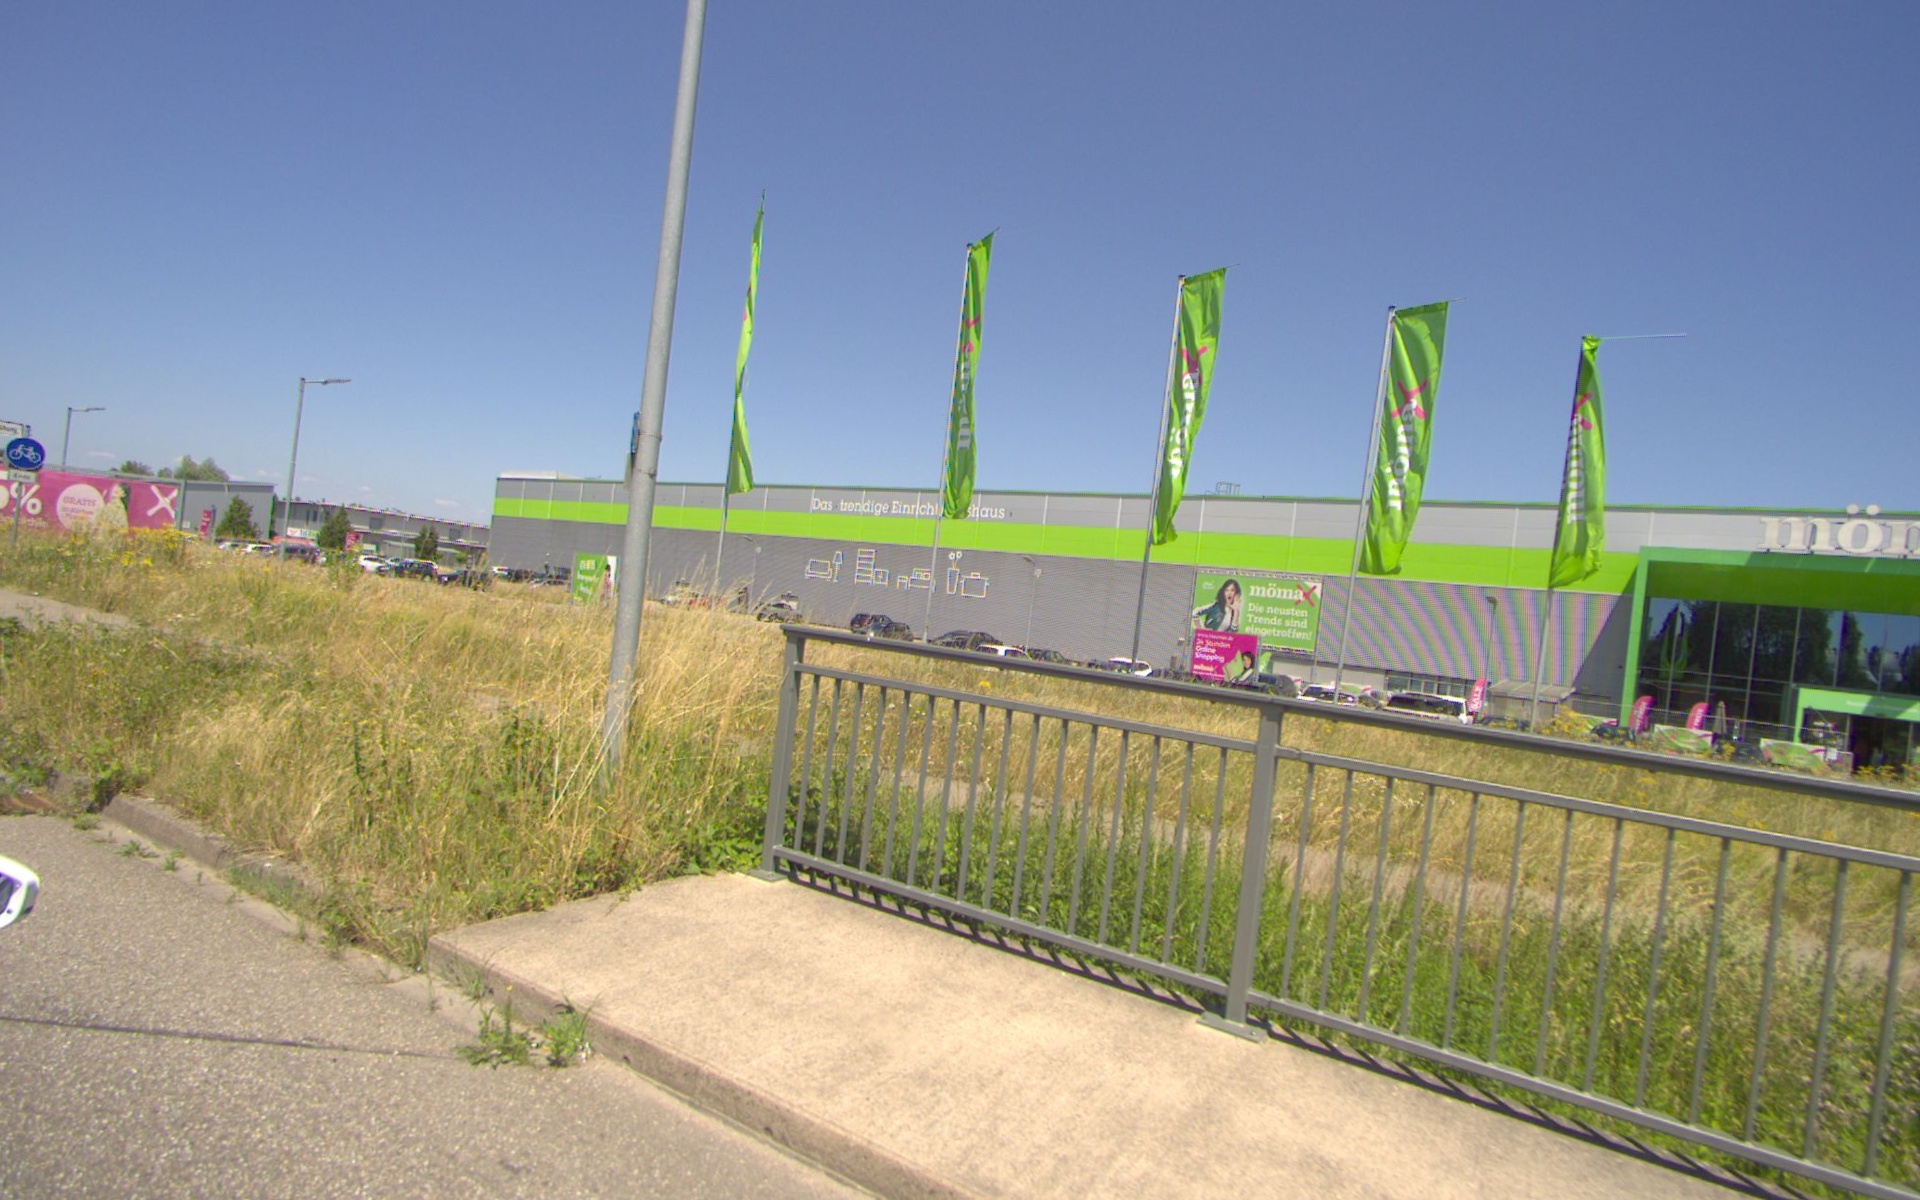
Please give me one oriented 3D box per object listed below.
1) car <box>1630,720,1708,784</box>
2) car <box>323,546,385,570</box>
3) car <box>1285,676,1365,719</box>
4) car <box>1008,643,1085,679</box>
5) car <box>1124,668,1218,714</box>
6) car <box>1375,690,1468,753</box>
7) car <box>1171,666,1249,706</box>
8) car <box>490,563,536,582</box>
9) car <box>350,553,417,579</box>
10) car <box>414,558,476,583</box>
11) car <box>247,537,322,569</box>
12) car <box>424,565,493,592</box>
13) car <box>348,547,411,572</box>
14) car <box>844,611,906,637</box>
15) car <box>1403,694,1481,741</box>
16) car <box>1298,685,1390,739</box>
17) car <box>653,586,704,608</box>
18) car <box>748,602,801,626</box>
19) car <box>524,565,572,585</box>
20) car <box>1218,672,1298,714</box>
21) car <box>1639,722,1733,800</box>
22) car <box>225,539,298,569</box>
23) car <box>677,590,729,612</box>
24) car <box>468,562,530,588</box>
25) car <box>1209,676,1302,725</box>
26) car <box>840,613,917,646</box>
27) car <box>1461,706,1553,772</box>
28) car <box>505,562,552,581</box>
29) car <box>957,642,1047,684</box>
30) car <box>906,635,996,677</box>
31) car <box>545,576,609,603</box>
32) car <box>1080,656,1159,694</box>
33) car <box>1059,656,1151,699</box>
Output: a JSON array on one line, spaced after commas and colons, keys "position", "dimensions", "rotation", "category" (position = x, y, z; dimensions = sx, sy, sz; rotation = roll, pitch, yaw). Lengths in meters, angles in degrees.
[{"position": [23.692, 5.004, 33.561], "dimensions": [1.887, 1.674, 3.985], "rotation": [5, -1, 37], "category": "car"}, {"position": [-51.228, -3.520, 85.072], "dimensions": [1.970, 1.537, 3.987], "rotation": [5, -2, 36], "category": "car"}, {"position": [15.356, 4.081, 42.226], "dimensions": [1.918, 1.523, 3.985], "rotation": [5, -1, 37], "category": "car"}, {"position": [4.359, 3.078, 50.486], "dimensions": [1.918, 1.523, 3.985], "rotation": [5, -1, 37], "category": "car"}, {"position": [8.192, 3.515, 38.840], "dimensions": [1.918, 1.480, 3.985], "rotation": [5, -1, 37], "category": "car"}, {"position": [15.434, 3.988, 33.539], "dimensions": [1.887, 1.717, 3.985], "rotation": [5, -1, 37], "category": "car"}, {"position": [11.348, 3.891, 45.468], "dimensions": [1.918, 1.523, 3.985], "rotation": [5, -1, 37], "category": "car"}, {"position": [-47.668, -2.896, 107.356], "dimensions": [1.968, 1.537, 3.990], "rotation": [5, -2, 34], "category": "car"}, {"position": [-44.812, -2.625, 78.247], "dimensions": [1.968, 1.537, 3.990], "rotation": [5, -2, 34], "category": "car"}, {"position": [-41.918, -2.364, 81.966], "dimensions": [1.968, 1.537, 3.990], "rotation": [5, -2, 34], "category": "car"}, {"position": [-46.163, -3.205, 68.787], "dimensions": [1.862, 1.589, 3.736], "rotation": [6, -2, 38], "category": "car"}, {"position": [-36.889, -1.595, 74.033], "dimensions": [1.968, 1.492, 3.990], "rotation": [5, -2, 34], "category": "car"}, {"position": [-47.853, -3.361, 83.010], "dimensions": [1.970, 1.537, 3.987], "rotation": [5, -2, 36], "category": "car"}, {"position": [-6.256, 1.804, 74.596], "dimensions": [1.968, 1.537, 4.655], "rotation": [5, -2, 34], "category": "car"}, {"position": [19.059, 4.591, 39.686], "dimensions": [1.918, 1.523, 3.985], "rotation": [5, -1, 37], "category": "car"}, {"position": [13.579, 3.914, 35.473], "dimensions": [1.887, 1.566, 3.985], "rotation": [5, -1, 37], "category": "car"}, {"position": [-24.943, -0.275, 89.211], "dimensions": [1.968, 1.492, 3.990], "rotation": [5, -2, 34], "category": "car"}, {"position": [-15.019, 1.157, 81.635], "dimensions": [1.968, 1.537, 3.990], "rotation": [5, -2, 34], "category": "car"}, {"position": [-42.401, -2.552, 103.602], "dimensions": [1.968, 1.537, 3.990], "rotation": [5, -2, 34], "category": "car"}, {"position": [12.965, 4.008, 43.628], "dimensions": [1.918, 1.523, 3.985], "rotation": [5, -1, 37], "category": "car"}, {"position": [20.490, 4.459, 28.348], "dimensions": [1.887, 1.674, 3.985], "rotation": [5, -1, 37], "category": "car"}, {"position": [-48.913, -3.195, 70.518], "dimensions": [1.914, 1.460, 3.736], "rotation": [6, -2, 38], "category": "car"}, {"position": [-22.350, 0.113, 87.554], "dimensions": [1.968, 1.537, 3.990], "rotation": [5, -2, 34], "category": "car"}, {"position": [-36.642, -1.967, 80.041], "dimensions": [1.968, 1.537, 3.990], "rotation": [5, -2, 34], "category": "car"}, {"position": [10.984, 3.695, 37.228], "dimensions": [1.887, 1.480, 3.985], "rotation": [5, -1, 37], "category": "car"}, {"position": [-4.671, 1.715, 58.327], "dimensions": [1.970, 1.537, 4.406], "rotation": [5, -2, 37], "category": "car"}, {"position": [17.442, 4.339, 31.996], "dimensions": [1.887, 1.674, 3.985], "rotation": [5, -1, 37], "category": "car"}, {"position": [-45.268, -2.974, 105.657], "dimensions": [1.968, 1.537, 3.990], "rotation": [5, -2, 34], "category": "car"}, {"position": [1.889, 2.769, 44.166], "dimensions": [1.918, 1.550, 3.985], "rotation": [5, -1, 37], "category": "car"}, {"position": [-0.357, 2.551, 45.462], "dimensions": [1.918, 1.550, 3.985], "rotation": [5, -1, 37], "category": "car"}, {"position": [-28.481, -0.741, 74.930], "dimensions": [1.968, 1.537, 3.990], "rotation": [5, -2, 34], "category": "car"}, {"position": [7.594, 3.580, 47.601], "dimensions": [1.918, 1.523, 3.985], "rotation": [5, -1, 37], "category": "car"}, {"position": [5.933, 3.170, 40.876], "dimensions": [1.918, 1.480, 3.985], "rotation": [5, -1, 37], "category": "car"}]
